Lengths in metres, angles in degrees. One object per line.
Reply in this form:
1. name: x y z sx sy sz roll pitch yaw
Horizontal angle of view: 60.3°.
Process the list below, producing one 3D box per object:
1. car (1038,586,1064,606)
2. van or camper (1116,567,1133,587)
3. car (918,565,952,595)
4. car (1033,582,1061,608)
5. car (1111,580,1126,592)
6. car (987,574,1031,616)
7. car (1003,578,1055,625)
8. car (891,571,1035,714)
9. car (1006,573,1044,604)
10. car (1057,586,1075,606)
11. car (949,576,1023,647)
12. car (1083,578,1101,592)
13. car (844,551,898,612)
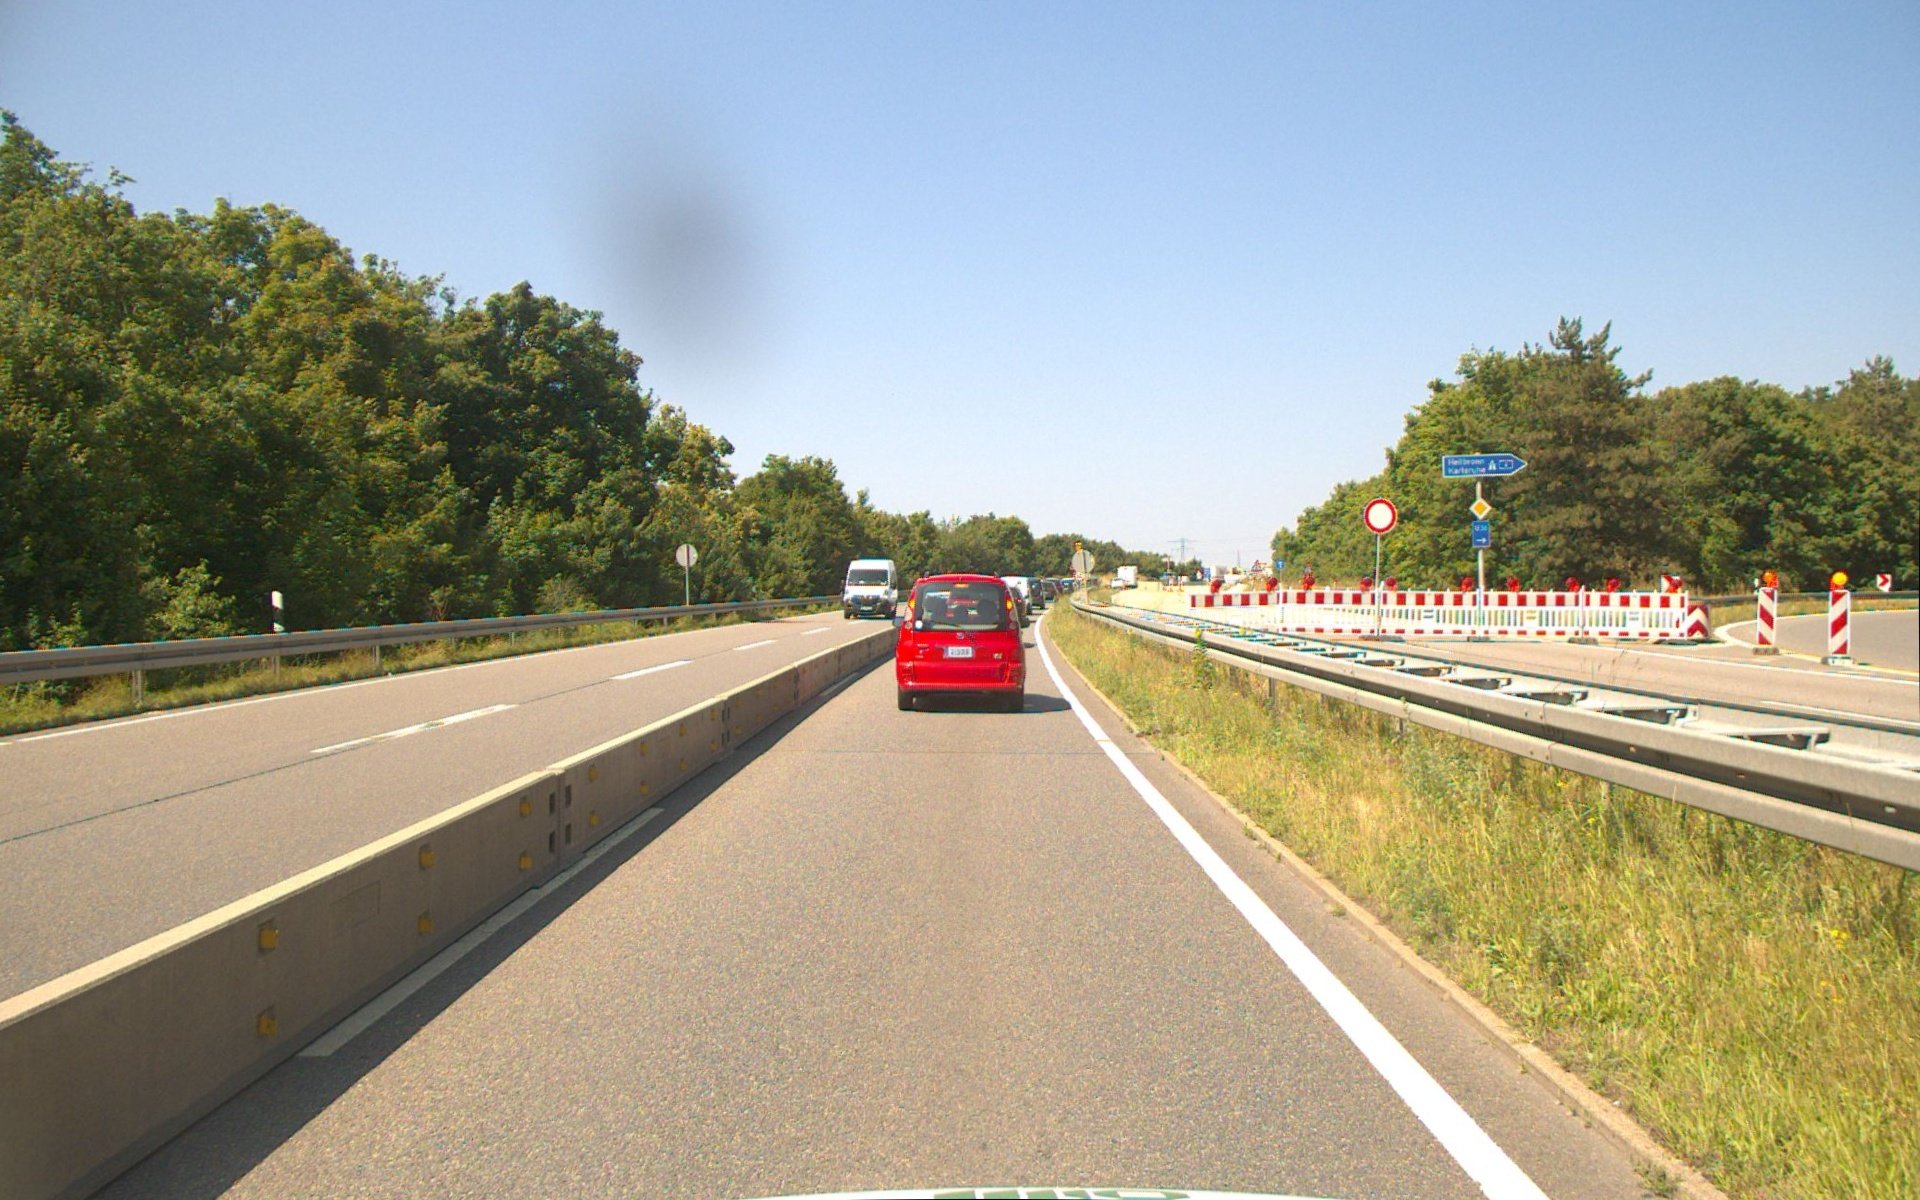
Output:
1. car: 7.547 -0.360 136.875 1.951 1.612 4.002 -1 0 5
2. van or camper: 23.364 -3.257 235.403 2.279 2.754 4.596 -1 0 4
3. car: -1.411 -1.127 93.511 1.810 1.629 4.322 0 0 0
4. car: 6.285 -0.347 119.581 1.952 1.814 4.001 -1 0 2
5. car: 21.387 -1.884 223.079 1.951 1.512 4.003 -1 0 5
6. car: 2.408 -0.262 82.138 1.953 2.038 3.999 -1 0 -1
7. car: 2.845 0.053 67.527 1.951 1.870 4.002 0 0 4
8. car: 0.091 0.501 21.942 1.715 1.702 4.001 1 0 1
9. car: 3.742 -0.660 96.207 1.953 1.780 3.999 0 0 -1
10. car: 9.575 -0.408 149.253 1.470 1.767 3.172 -1 0 6
11. car: 0.638 0.274 42.720 1.793 1.752 4.000 0 0 0
12. car: 15.182 -1.767 190.237 1.951 1.579 4.003 -1 0 6
13. car: -3.829 -0.781 71.796 2.019 2.528 5.560 0 0 0
